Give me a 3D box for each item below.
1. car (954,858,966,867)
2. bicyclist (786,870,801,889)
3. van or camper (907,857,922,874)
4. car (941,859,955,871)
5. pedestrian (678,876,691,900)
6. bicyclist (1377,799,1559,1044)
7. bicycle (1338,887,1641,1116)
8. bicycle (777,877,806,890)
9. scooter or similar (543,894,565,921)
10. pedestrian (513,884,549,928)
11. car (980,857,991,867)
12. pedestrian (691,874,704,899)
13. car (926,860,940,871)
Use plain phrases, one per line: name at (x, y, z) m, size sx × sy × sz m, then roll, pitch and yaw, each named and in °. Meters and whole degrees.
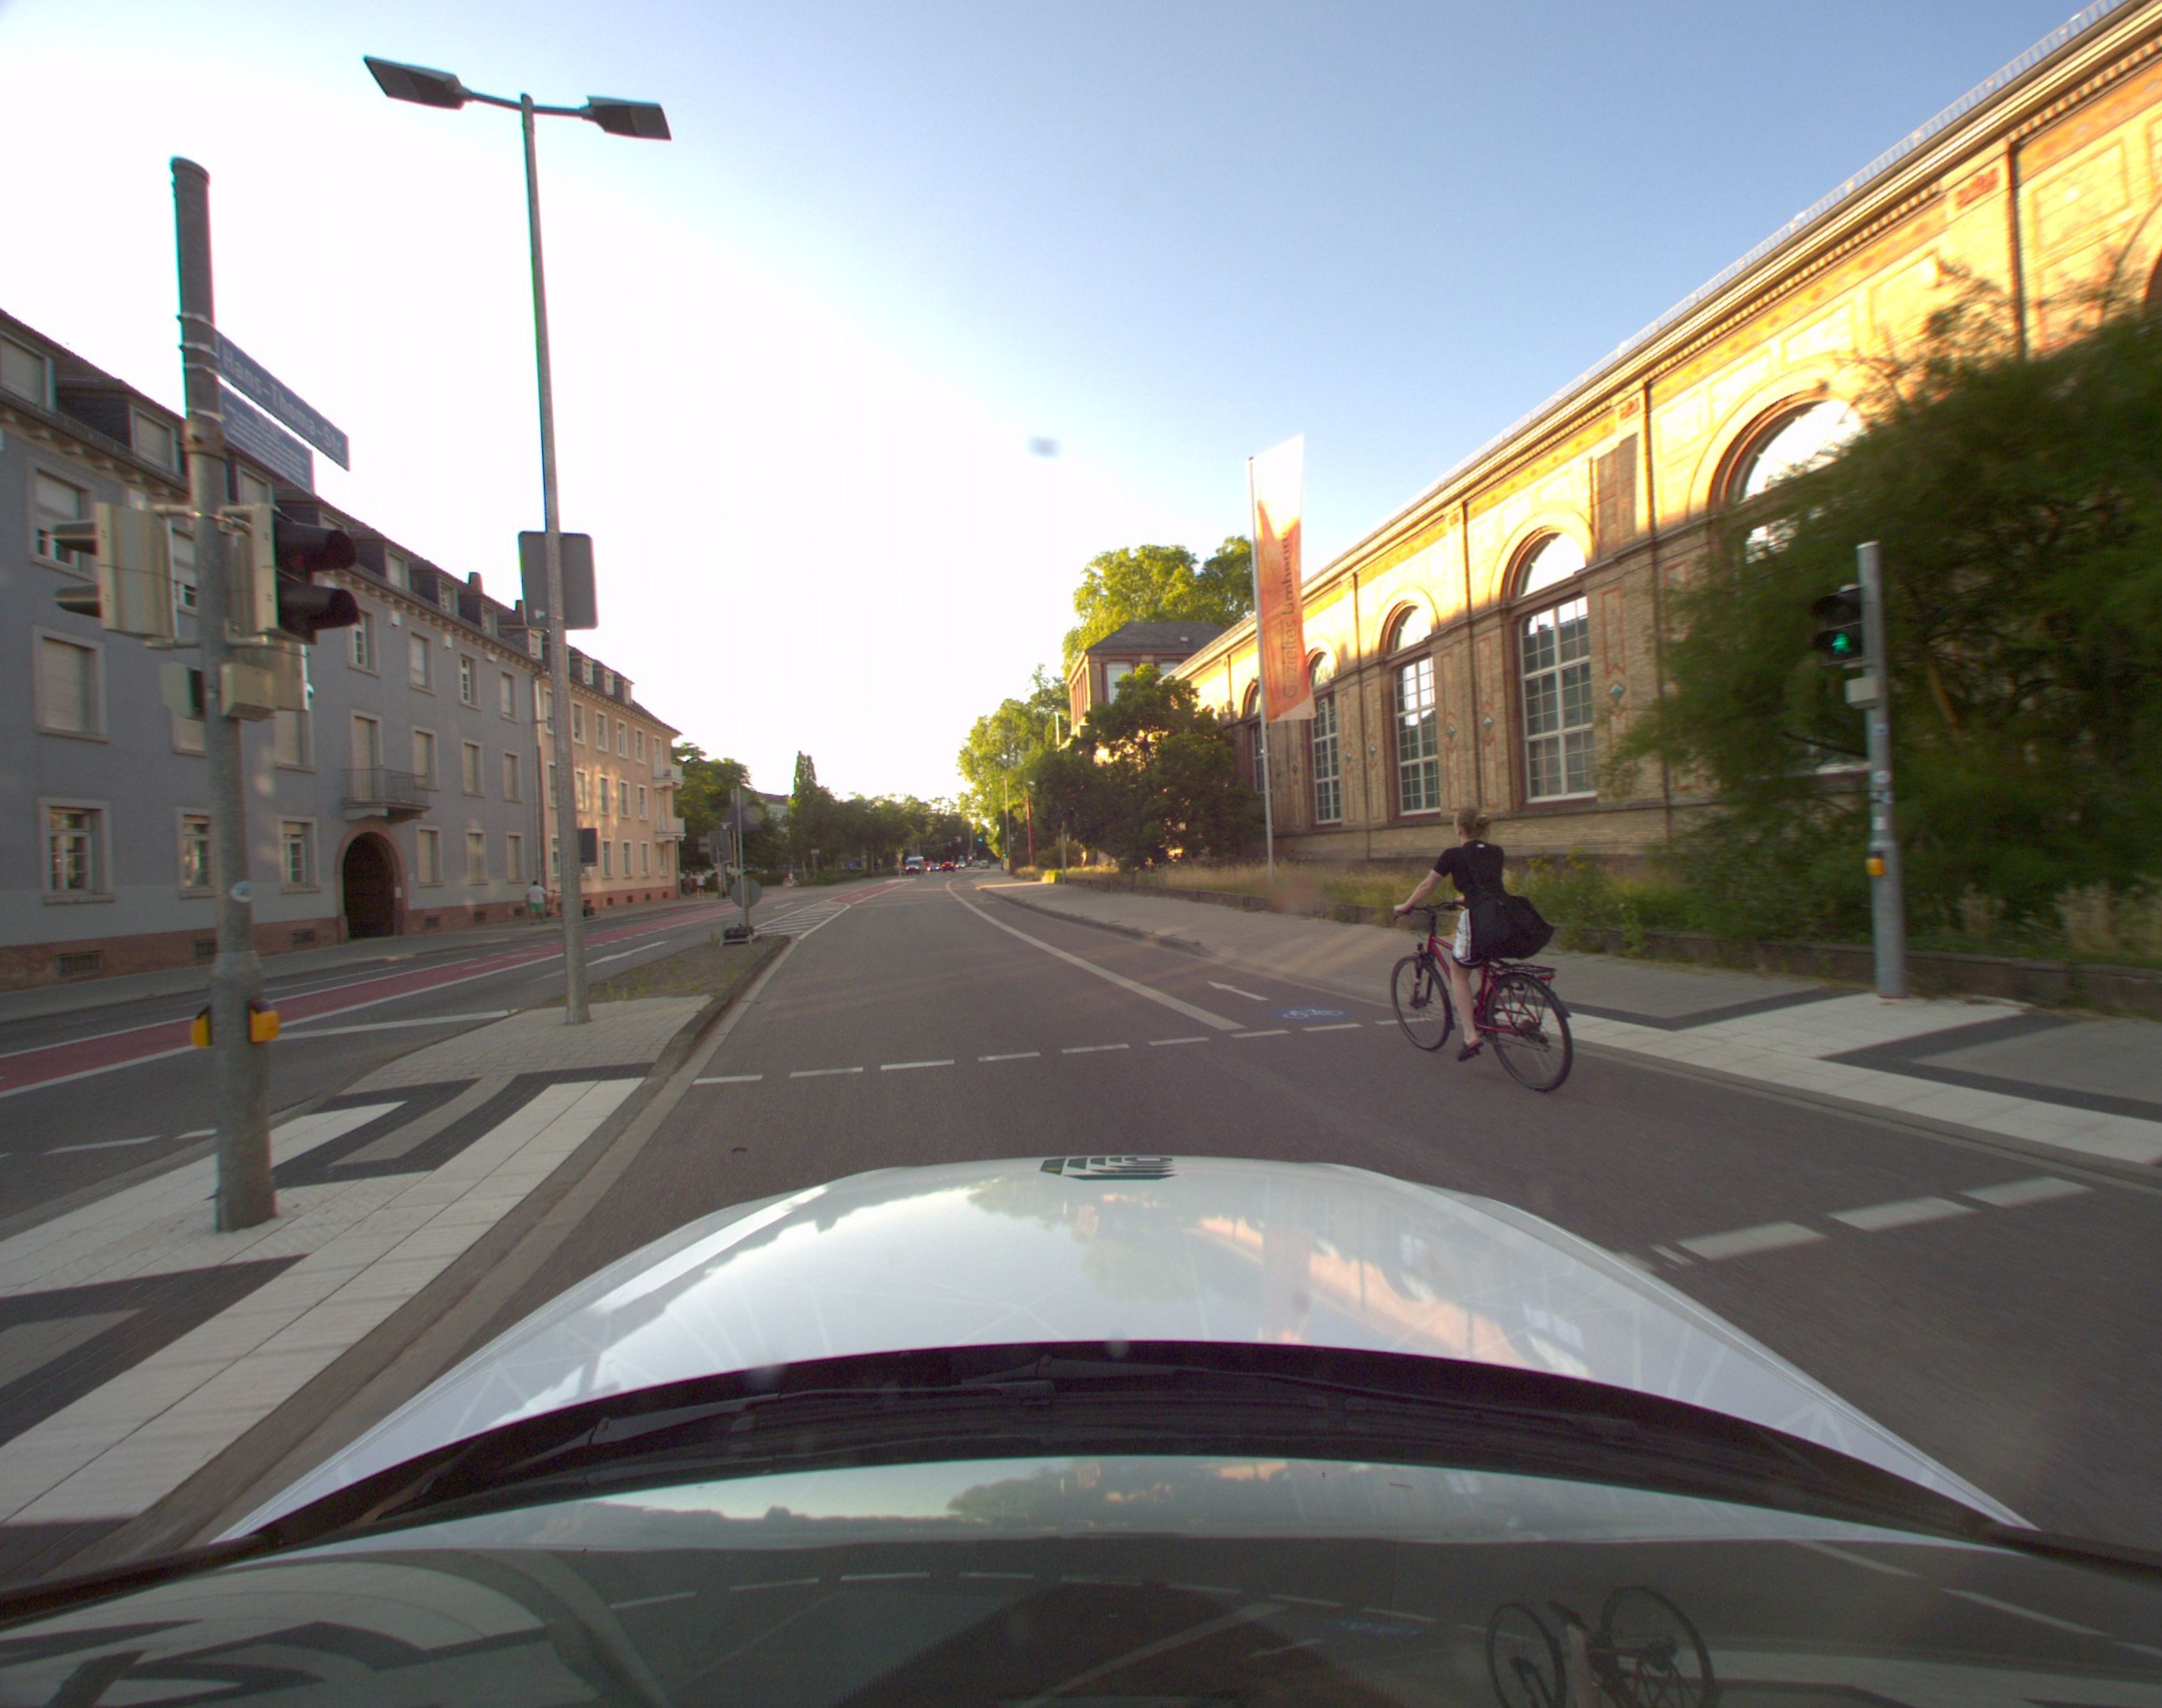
car at (-25.567, 1.771, 172.100) m, size 1.989 × 1.720 × 3.995 m, roll -3°, pitch 0°, yaw -4°
bicyclist at (-24.758, 2.197, 70.038) m, size 0.744 × 1.596 × 0.878 m, roll -4°, pitch 0°, yaw 41°
van or camper at (-24.342, 1.672, 119.104) m, size 1.829 × 2.194 × 4.406 m, roll -3°, pitch 0°, yaw -10°
car at (-21.217, 1.746, 130.325) m, size 1.992 × 1.720 × 3.989 m, roll -3°, pitch 0°, yaw -8°
pedestrian at (-26.457, 2.249, 54.349) m, size 0.616 × 1.534 × 0.686 m, roll -3°, pitch 0°, yaw -17°
bicyclist at (2.573, 0.415, 5.505) m, size 0.716 × 1.502 × 0.848 m, roll -2°, pitch -1°, yaw -10°
bicycle at (2.578, 0.840, 5.493) m, size 0.711 × 1.156 × 2.062 m, roll -2°, pitch 0°, yaw -10°
bicycle at (-24.822, 2.552, 69.919) m, size 0.763 × 0.928 × 2.209 m, roll -4°, pitch 0°, yaw 41°
scooter or similar at (-23.390, 2.383, 36.149) m, size 0.395 × 1.128 × 0.860 m, roll -3°, pitch 0°, yaw -5°
pedestrian at (-21.663, 2.036, 32.070) m, size 0.875 × 1.653 × 0.807 m, roll -3°, pitch -3°, yaw -10°
car at (-18.089, 1.513, 154.343) m, size 1.990 × 1.720 × 3.993 m, roll -3°, pitch 0°, yaw -5°
pedestrian at (-25.603, 2.171, 54.384) m, size 0.616 × 1.574 × 0.720 m, roll -3°, pitch 0°, yaw -17°
car at (-25.463, 2.016, 139.970) m, size 1.991 × 1.720 × 3.992 m, roll -3°, pitch 0°, yaw -6°
